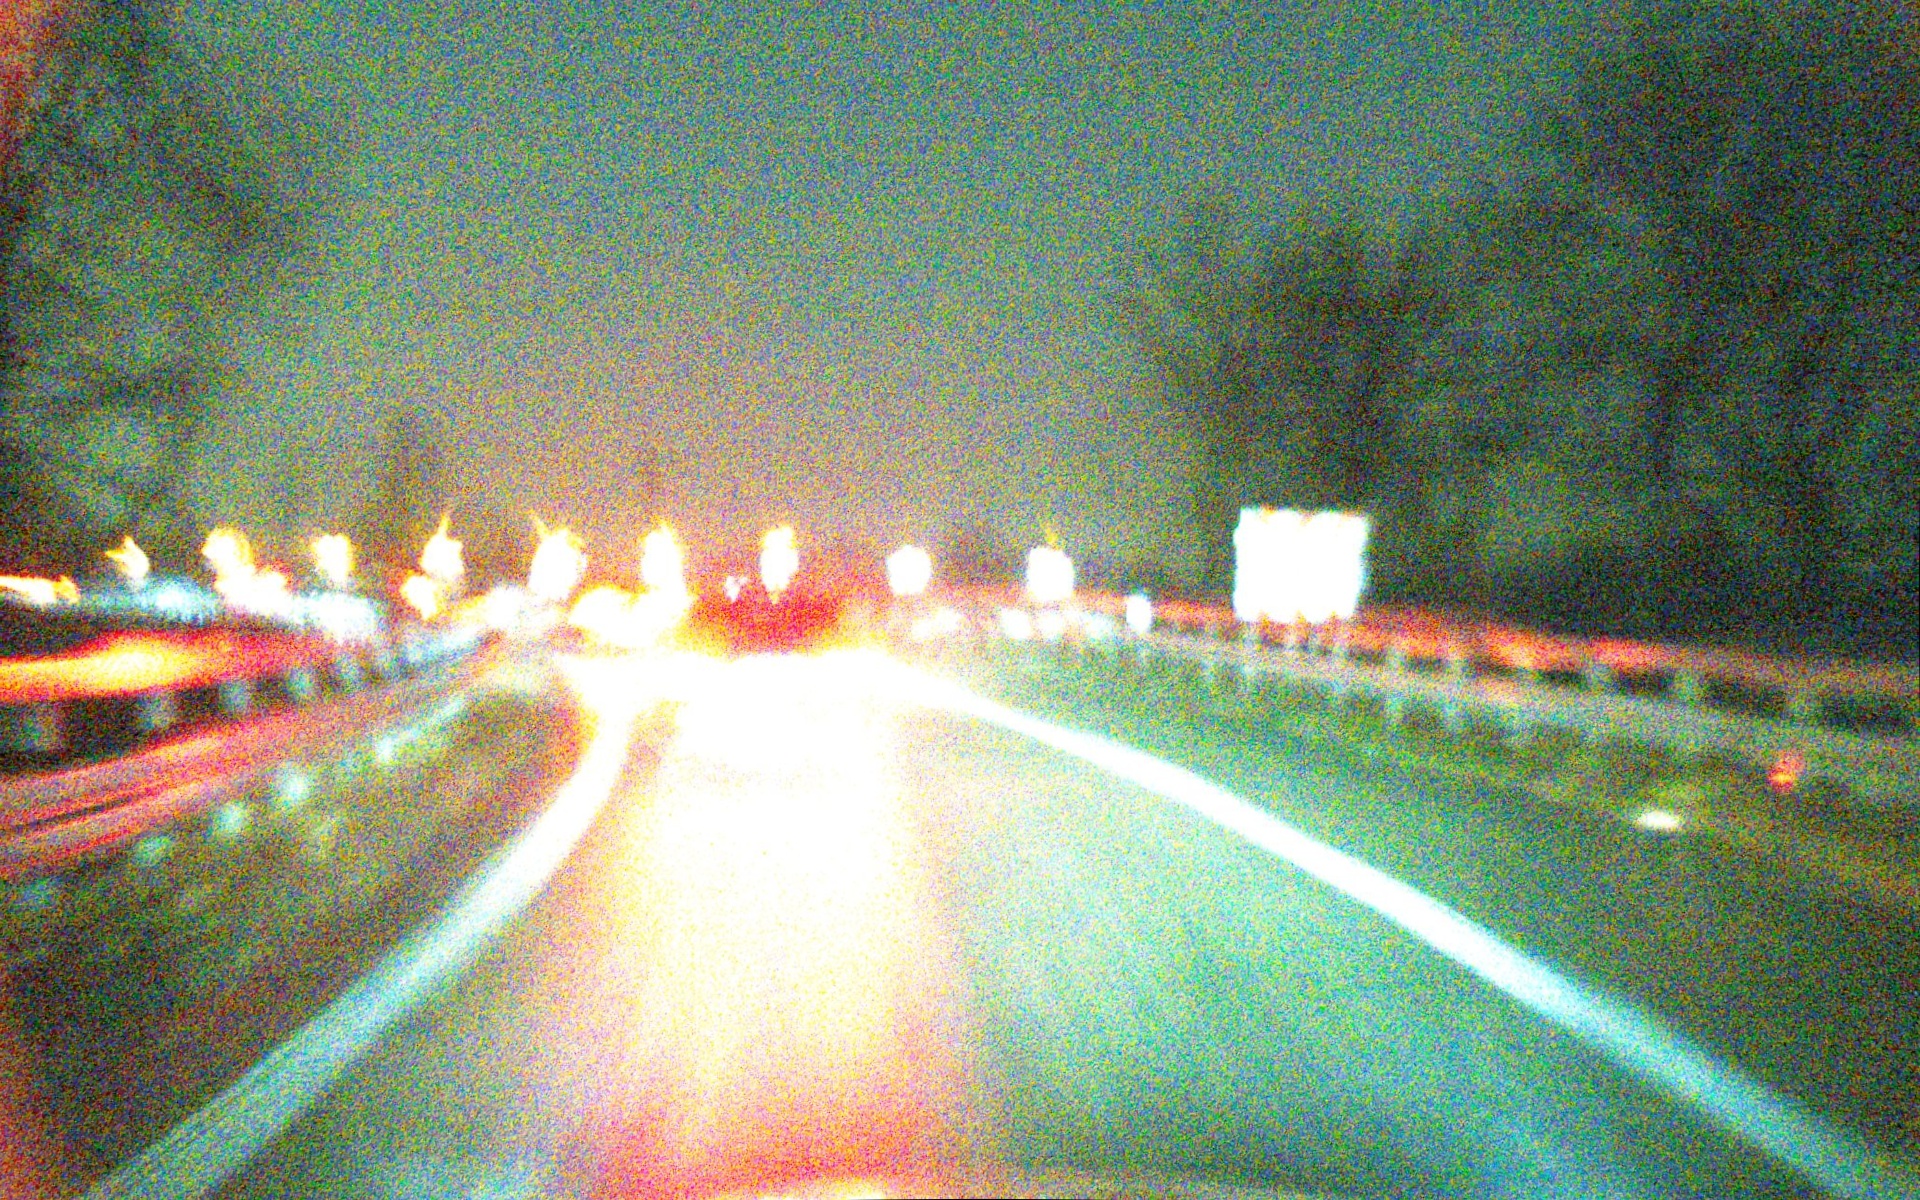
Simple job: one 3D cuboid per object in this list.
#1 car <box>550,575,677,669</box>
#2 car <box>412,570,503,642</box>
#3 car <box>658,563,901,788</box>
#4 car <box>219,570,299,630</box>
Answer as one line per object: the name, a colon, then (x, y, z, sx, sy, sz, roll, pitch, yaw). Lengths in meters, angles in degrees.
car: (-7.021, 0.377, 33.217, 1.869, 1.750, 4.019, 0, 1, -22)
car: (-15.190, 0.151, 49.883, 1.874, 2.076, 4.007, 0, 1, -29)
car: (-1.647, 0.548, 14.539, 1.826, 1.676, 4.061, 0, 0, -8)
car: (-25.237, -0.038, 59.478, 1.879, 2.032, 3.996, -2, 2, -35)
